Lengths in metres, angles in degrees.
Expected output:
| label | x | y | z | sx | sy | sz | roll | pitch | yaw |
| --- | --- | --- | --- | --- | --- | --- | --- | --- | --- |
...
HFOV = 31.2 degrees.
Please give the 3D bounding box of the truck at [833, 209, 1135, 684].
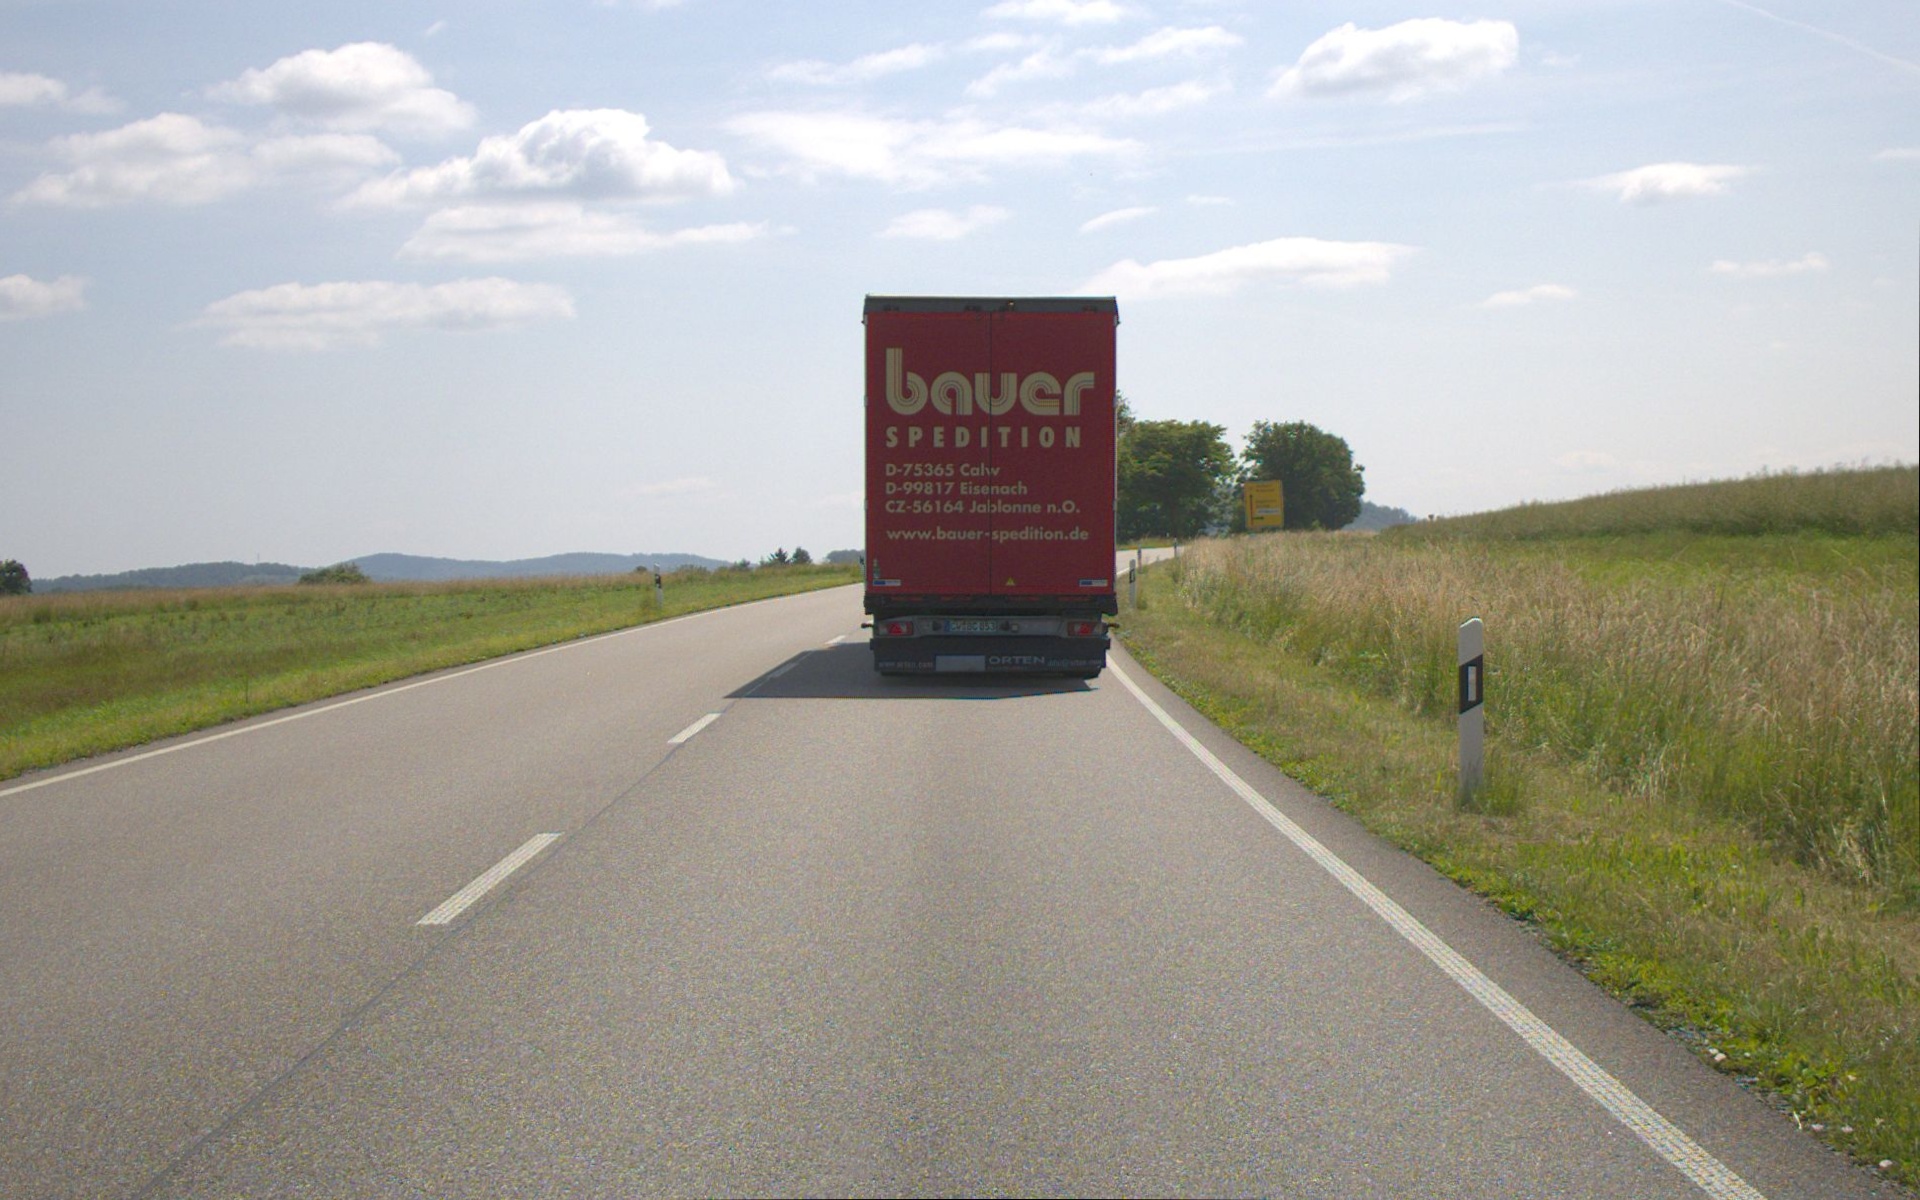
| label | x | y | z | sx | sy | sz | roll | pitch | yaw |
| --- | --- | --- | --- | --- | --- | --- | --- | --- | --- |
| truck | 0.357 | -1.635 | 38.782 | 2.975 | 4.697 | 9.366 | 0 | 1 | 1 |
